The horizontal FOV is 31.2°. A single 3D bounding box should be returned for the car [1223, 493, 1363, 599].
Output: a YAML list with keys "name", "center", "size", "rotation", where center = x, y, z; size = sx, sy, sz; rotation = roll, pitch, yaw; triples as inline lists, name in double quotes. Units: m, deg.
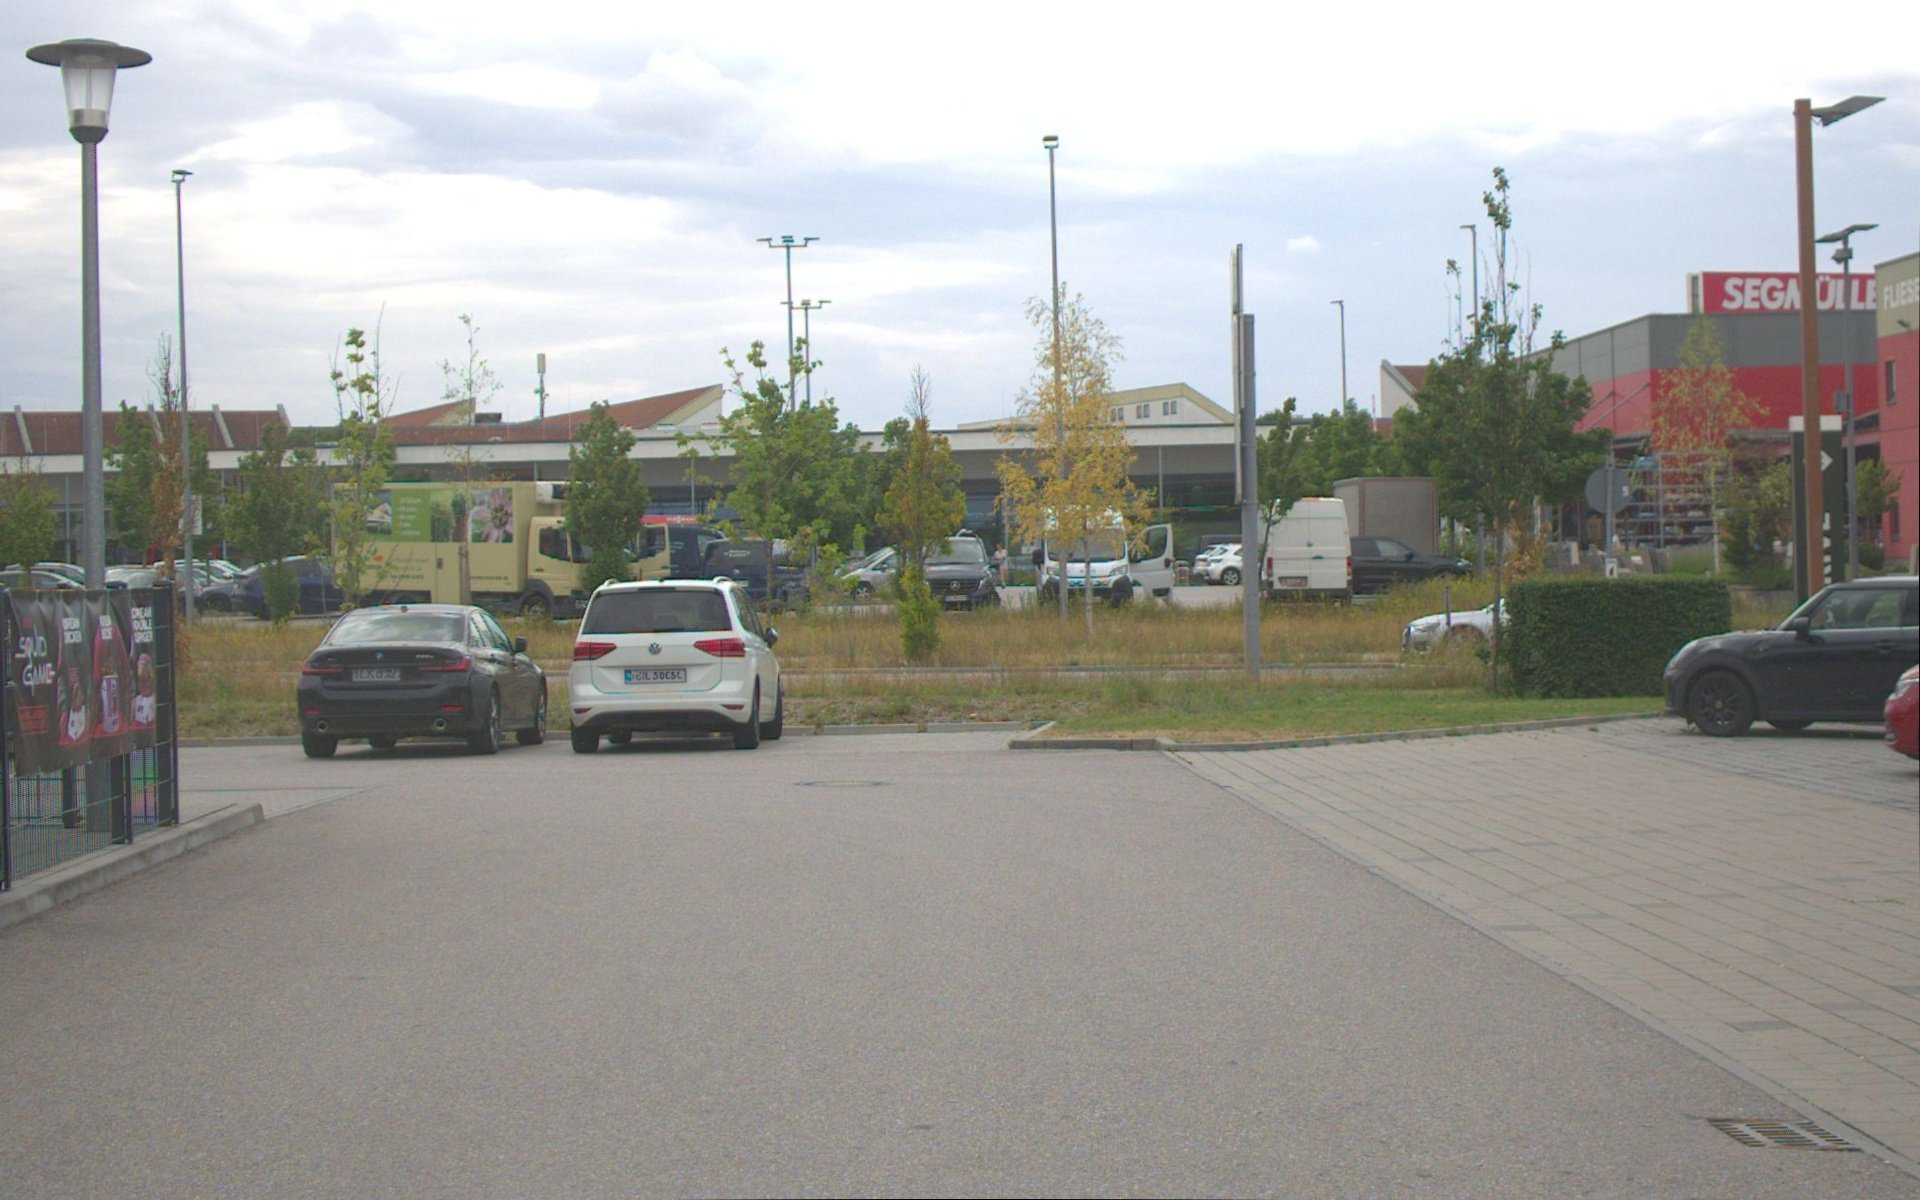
- name: "car"
  center: [7.628, -1.296, 79.424]
  size: [2.338, 2.260, 6.507]
  rotation: [-1, 2, -2]

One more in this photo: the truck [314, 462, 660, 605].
- name: "truck"
  center: [-11.235, -1.563, 81.227]
  size: [8.423, 3.185, 3.023]
  rotation: [0, 3, 38]

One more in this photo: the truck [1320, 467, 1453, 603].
- name: "truck"
  center: [12.349, -1.966, 100.177]
  size: [2.648, 3.730, 8.257]
  rotation: [-1, 2, -1]

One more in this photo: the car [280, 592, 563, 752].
- name: "car"
  center: [-5.242, 0.712, 34.064]
  size: [1.941, 1.461, 4.515]
  rotation: [-1, -1, 2]

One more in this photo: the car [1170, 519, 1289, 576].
- name: "car"
  center: [9.203, -1.794, 117.603]
  size: [3.987, 1.831, 2.000]
  rotation: [-1, 2, 3]

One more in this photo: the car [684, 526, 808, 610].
- name: "car"
  center: [-4.961, -0.742, 80.378]
  size: [2.071, 1.878, 5.069]
  rotation: [0, 0, 6]

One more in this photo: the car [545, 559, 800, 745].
- name: "car"
  center: [-2.768, 0.525, 34.033]
  size: [1.986, 1.707, 4.372]
  rotation: [-1, -1, 2]

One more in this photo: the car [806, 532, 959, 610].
- name: "car"
  center: [-2.148, -0.813, 94.756]
  size: [3.986, 2.006, 2.001]
  rotation: [-1, 2, -7]

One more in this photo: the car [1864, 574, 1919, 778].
- name: "car"
  center: [8.639, 0.551, 24.324]
  size: [3.996, 1.459, 1.683]
  rotation: [1, 1, 38]

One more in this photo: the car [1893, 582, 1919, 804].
- name: "car"
  center: [8.240, 0.604, 21.246]
  size: [4.455, 1.407, 1.749]
  rotation: [1, 1, 39]

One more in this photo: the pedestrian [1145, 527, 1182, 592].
- name: "pedestrian"
  center: [4.640, -0.928, 78.299]
  size: [0.785, 1.424, 0.978]
  rotation: [-1, 2, 2]

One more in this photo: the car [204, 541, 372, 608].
- name: "car"
  center: [-19.041, -0.730, 97.526]
  size: [4.307, 1.765, 2.000]
  rotation: [-1, 2, 1]

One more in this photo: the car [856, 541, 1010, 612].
- name: "car"
  center: [-0.701, -0.629, 90.483]
  size: [3.987, 1.732, 1.891]
  rotation: [-1, 2, 0]

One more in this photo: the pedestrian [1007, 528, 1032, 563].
- name: "pedestrian"
  center: [2.411, -2.202, 139.001]
  size: [0.651, 1.424, 0.798]
  rotation: [-3, 2, -37]

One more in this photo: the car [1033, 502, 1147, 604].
- name: "car"
  center: [2.955, -1.140, 79.560]
  size: [2.408, 2.206, 6.060]
  rotation: [0, 2, 0]

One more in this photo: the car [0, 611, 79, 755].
- name: "car"
  center: [-10.318, 0.828, 34.281]
  size: [1.882, 1.407, 4.070]
  rotation: [-1, -1, 2]

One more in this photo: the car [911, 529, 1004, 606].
- name: "car"
  center: [-0.058, -0.783, 79.340]
  size: [2.071, 1.633, 5.071]
  rotation: [0, 2, 0]

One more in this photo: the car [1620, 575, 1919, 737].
- name: "car"
  center: [8.158, 0.482, 31.201]
  size: [3.926, 1.407, 1.684]
  rotation: [1, 1, 37]

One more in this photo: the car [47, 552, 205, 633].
- name: "car"
  center: [-19.970, -0.201, 82.517]
  size: [1.926, 1.765, 4.319]
  rotation: [-1, 2, 13]
